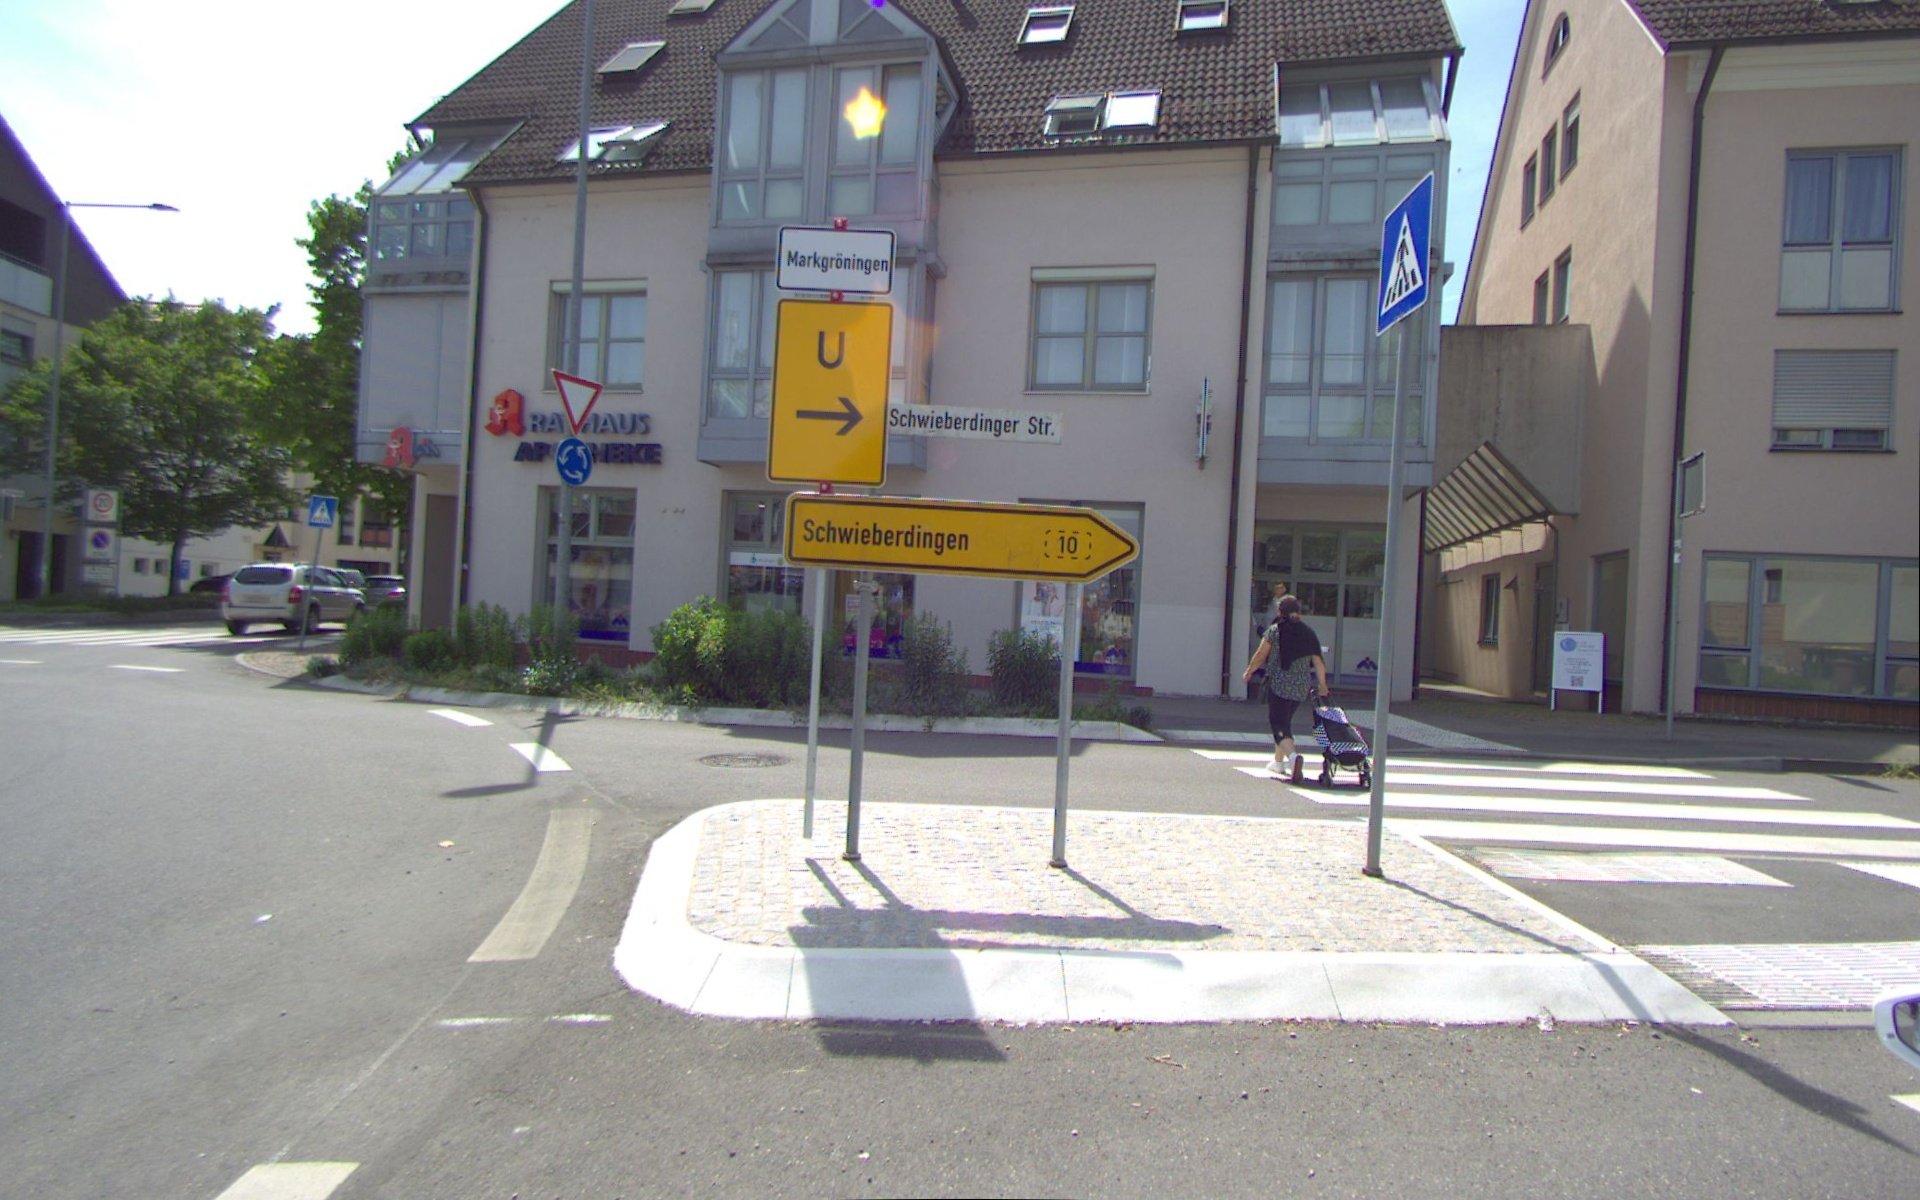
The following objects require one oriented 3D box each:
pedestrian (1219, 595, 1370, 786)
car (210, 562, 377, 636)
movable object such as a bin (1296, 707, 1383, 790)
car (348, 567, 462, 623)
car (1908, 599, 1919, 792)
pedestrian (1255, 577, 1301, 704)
[{"bbox_3d":[2.779,0.722,8.432,0.789,1.498,0.954,2,0,-14],"label":"pedestrian"},{"bbox_3d":[-16.355,-0.031,24.930,1.940,1.649,4.214,1,0,-11],"label":"car"},{"bbox_3d":[3.026,1.179,8.026,0.451,0.589,0.467,2,0,-14],"label":"movable object such as a bin"},{"bbox_3d":[-17.620,-0.168,32.115,1.940,1.649,4.214,1,1,-11],"label":"car"},{"bbox_3d":[9.749,0.835,7.258,3.865,1.605,1.759,2,0,9],"label":"car"},{"bbox_3d":[4.482,0.553,14.178,0.568,1.732,0.577,2,1,17],"label":"pedestrian"}]
